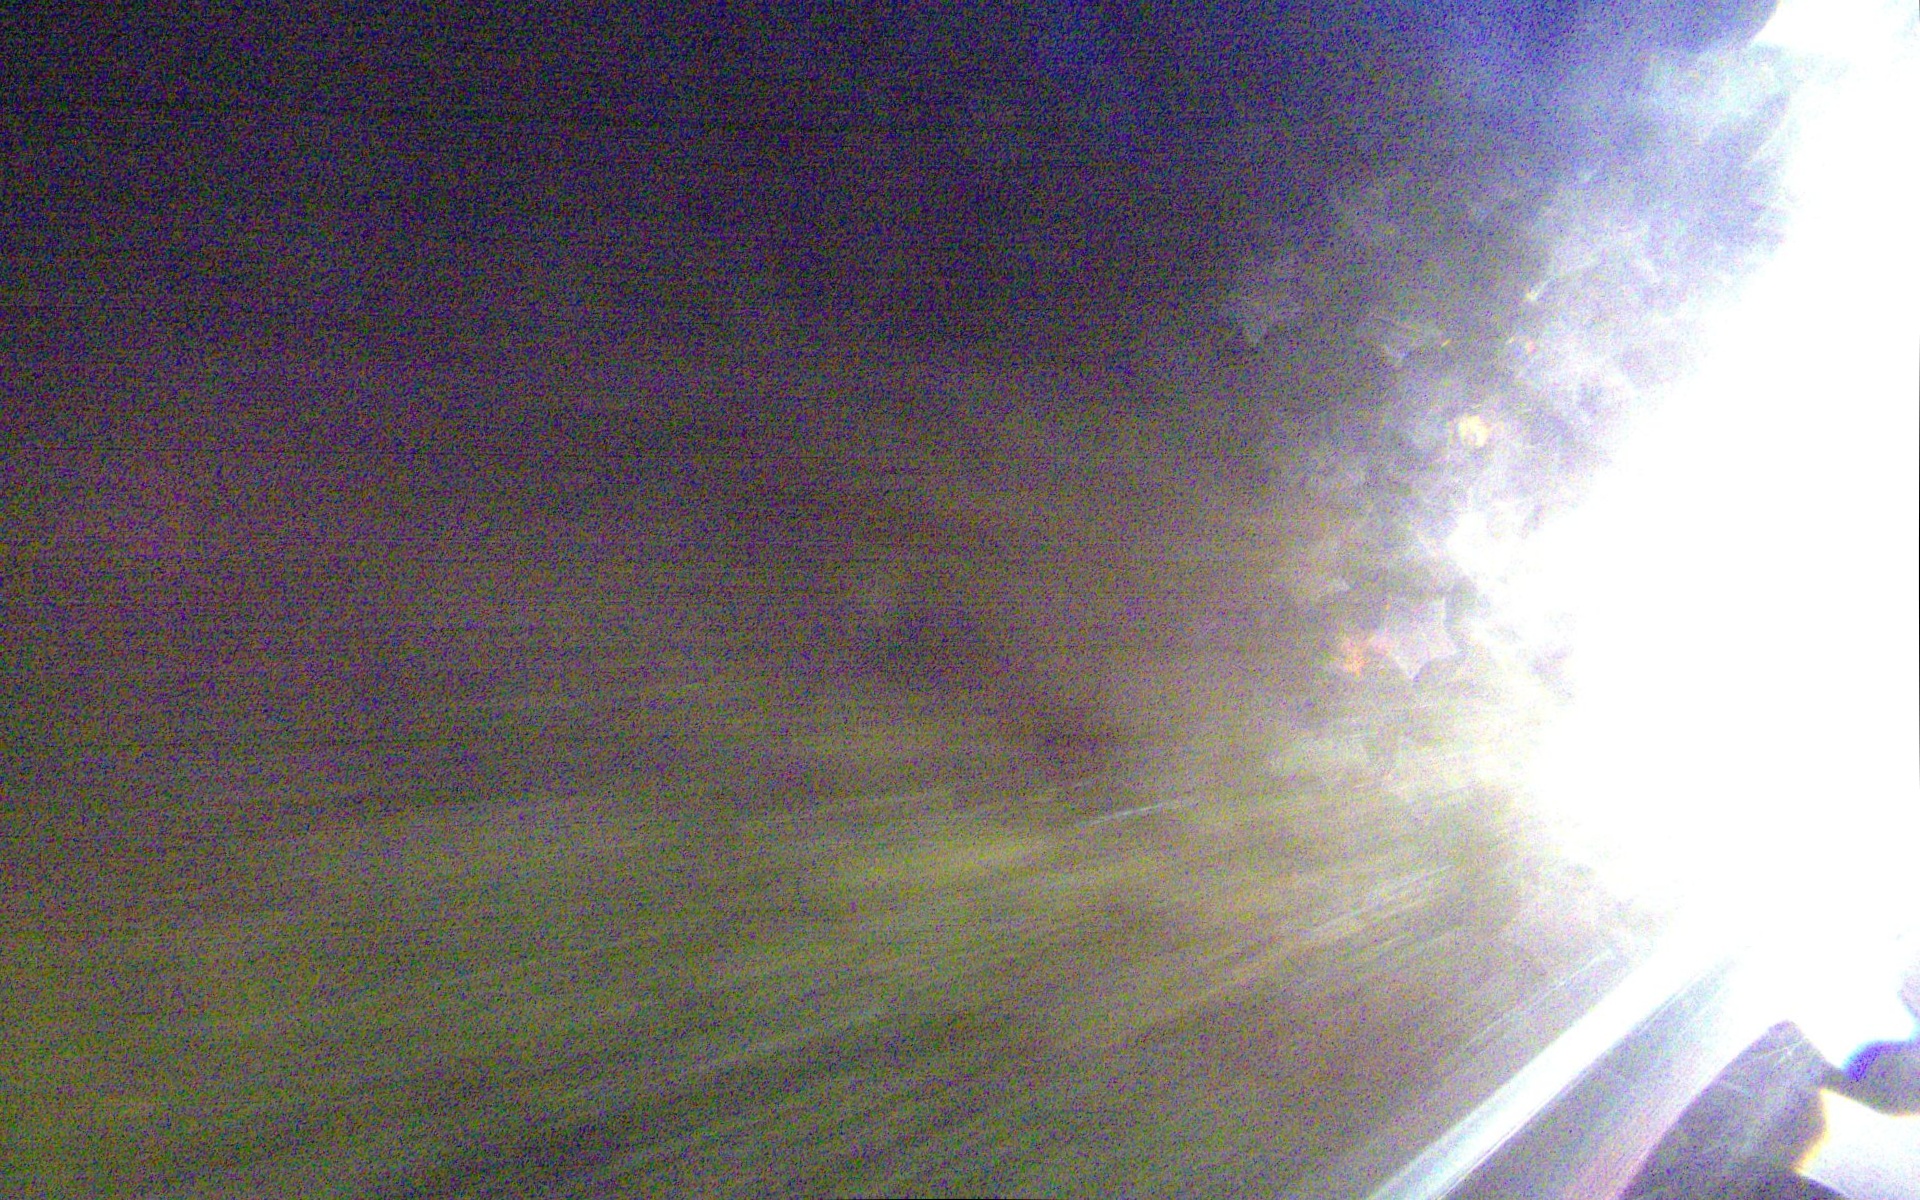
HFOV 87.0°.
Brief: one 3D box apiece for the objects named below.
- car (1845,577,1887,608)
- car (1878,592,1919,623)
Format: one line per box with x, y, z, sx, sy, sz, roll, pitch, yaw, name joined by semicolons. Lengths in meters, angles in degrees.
60.929;-0.524;68.037;1.993;2.039;3.938;1;1;43;car
50.256;0.352;53.652;1.989;1.482;3.948;1;2;37;car
